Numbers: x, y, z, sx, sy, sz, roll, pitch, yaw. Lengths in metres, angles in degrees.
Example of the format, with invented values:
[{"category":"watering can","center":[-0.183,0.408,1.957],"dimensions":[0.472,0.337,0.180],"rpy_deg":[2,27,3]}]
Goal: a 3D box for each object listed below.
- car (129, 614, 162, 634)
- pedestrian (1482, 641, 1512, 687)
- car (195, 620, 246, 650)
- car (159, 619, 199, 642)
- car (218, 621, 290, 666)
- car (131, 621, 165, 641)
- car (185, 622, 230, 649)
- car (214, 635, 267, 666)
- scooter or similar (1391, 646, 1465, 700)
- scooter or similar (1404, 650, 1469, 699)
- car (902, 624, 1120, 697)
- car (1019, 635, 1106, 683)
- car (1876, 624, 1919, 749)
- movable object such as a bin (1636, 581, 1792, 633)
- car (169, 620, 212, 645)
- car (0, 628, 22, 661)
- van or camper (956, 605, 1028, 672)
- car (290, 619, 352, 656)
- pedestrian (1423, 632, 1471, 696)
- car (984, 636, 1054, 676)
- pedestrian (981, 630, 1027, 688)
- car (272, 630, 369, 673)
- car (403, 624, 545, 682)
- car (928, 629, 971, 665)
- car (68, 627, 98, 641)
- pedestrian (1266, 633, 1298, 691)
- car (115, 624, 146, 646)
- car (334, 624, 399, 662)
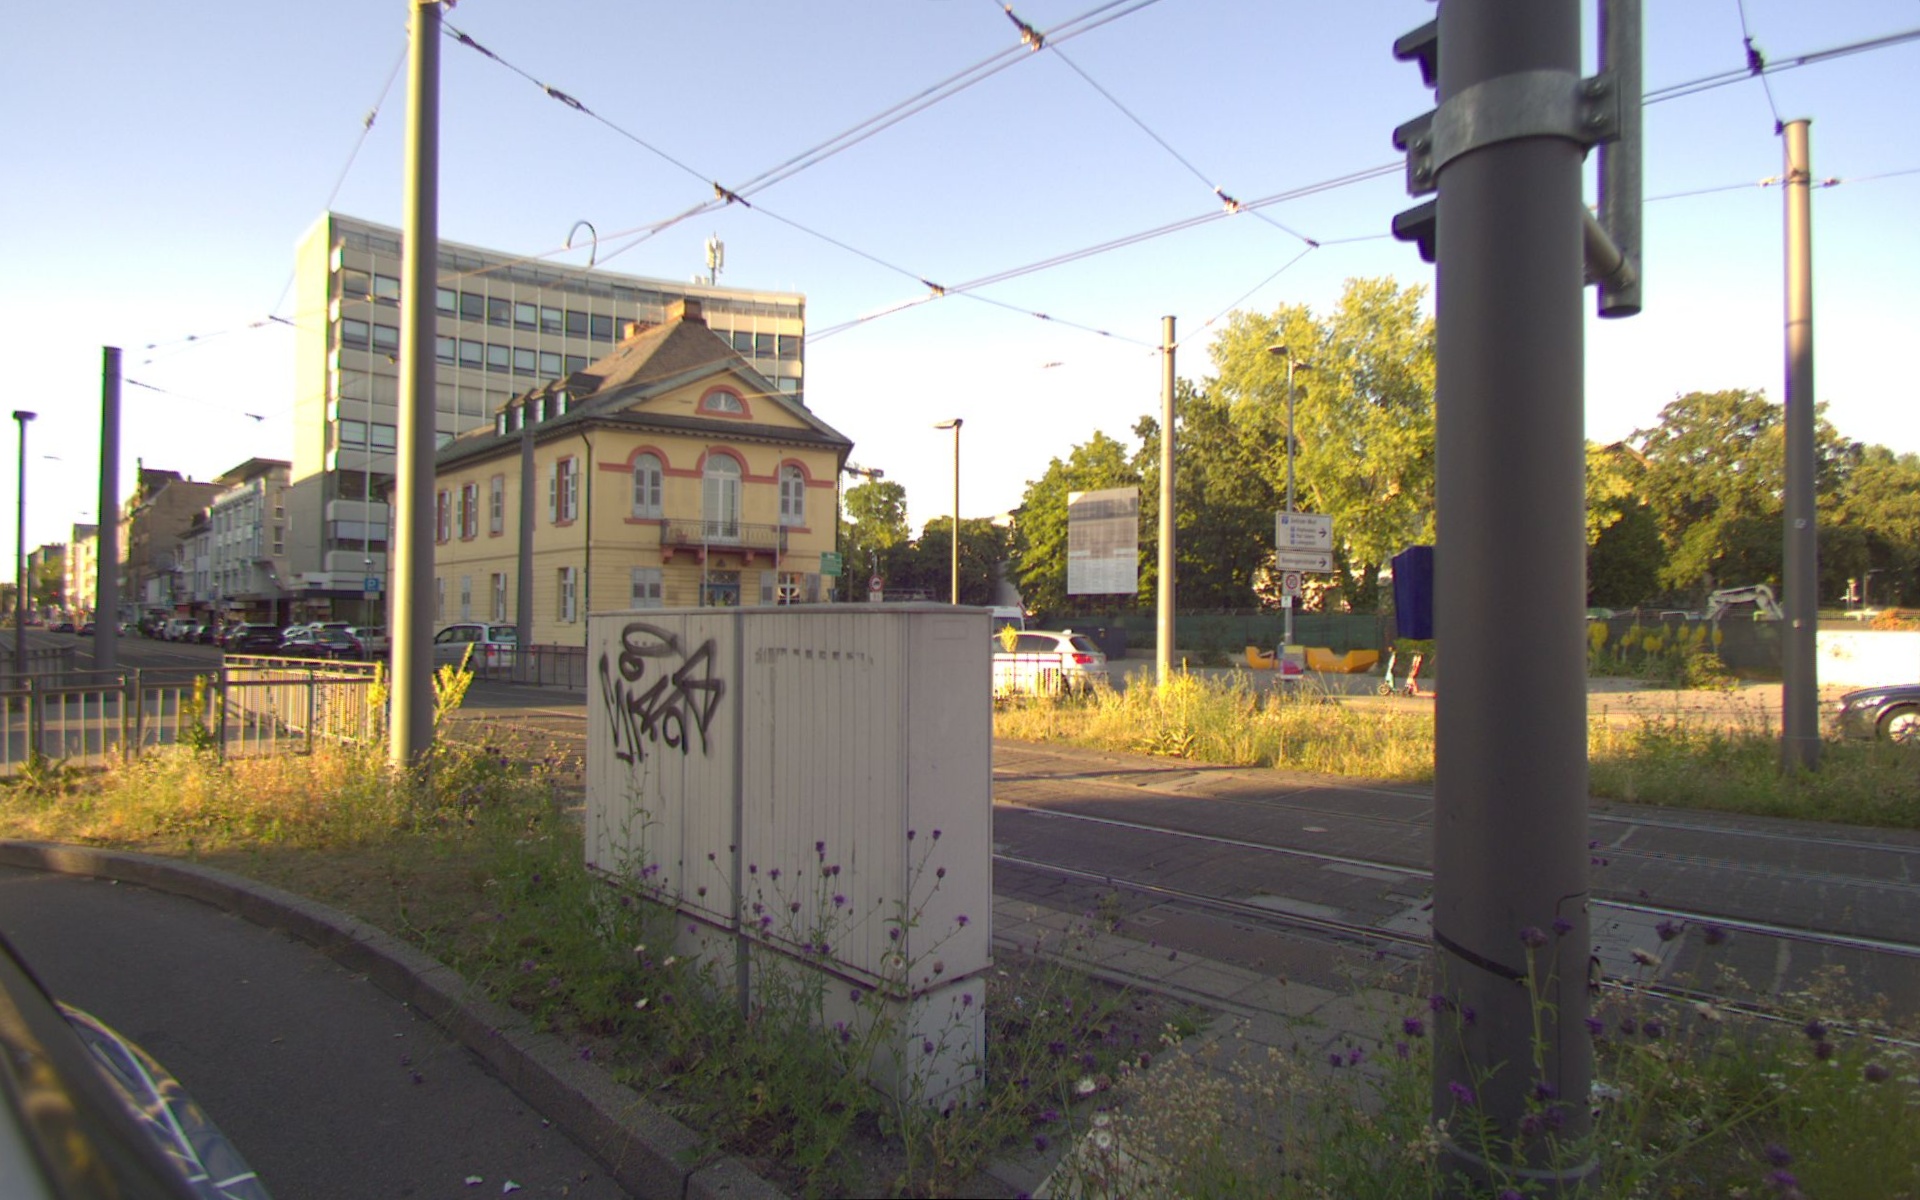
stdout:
[{"category":"car","center":[-83.480,2.439,103.669],"dimensions":[3.998,2.029,1.973],"rpy_deg":[-1,0,41]},{"category":"pedestrian","center":[19.806,2.339,37.325],"dimensions":[0.810,1.678,0.765],"rpy_deg":[2,-3,-42]},{"category":"car","center":[-49.940,2.343,68.331],"dimensions":[4.000,1.962,1.972],"rpy_deg":[-1,-3,43]},{"category":"car","center":[-65.991,2.578,85.514],"dimensions":[4.000,1.962,1.972],"rpy_deg":[-1,-3,43]},{"category":"car","center":[-33.132,1.996,47.433],"dimensions":[4.120,2.005,1.971],"rpy_deg":[-1,-3,44]},{"category":"car","center":[-79.857,3.019,99.555],"dimensions":[4.000,1.962,1.972],"rpy_deg":[-1,-3,43]},{"category":"car","center":[-56.274,2.611,75.683],"dimensions":[4.000,1.962,1.972],"rpy_deg":[-1,-3,43]},{"category":"car","center":[-46.023,3.199,64.713],"dimensions":[4.000,1.915,1.972],"rpy_deg":[-1,-3,43]},{"category":"scooter or similar","center":[11.736,1.823,25.386],"dimensions":[1.629,1.302,0.461],"rpy_deg":[1,-2,-3]},{"category":"scooter or similar","center":[11.724,1.830,24.897],"dimensions":[1.383,1.175,0.461],"rpy_deg":[1,-2,-3]},{"category":"car","center":[1.075,1.253,21.763],"dimensions":[4.316,1.421,1.898],"rpy_deg":[-1,-2,28]},{"category":"car","center":[3.515,2.023,35.479],"dimensions":[1.754,1.555,4.301],"rpy_deg":[1,-2,-12]},{"category":"car","center":[14.088,1.096,12.206],"dimensions":[1.971,1.528,4.417],"rpy_deg":[-1,0,-45]},{"category":"movable object such as a bin","center":[31.711,0.347,42.764],"dimensions":[1.966,2.029,5.039],"rpy_deg":[1,-2,-18]},{"category":"car","center":[-60.942,2.561,80.110],"dimensions":[4.000,1.962,1.972],"rpy_deg":[-1,-3,43]},{"category":"car","center":[-45.946,2.071,47.239],"dimensions":[1.965,1.586,4.316],"rpy_deg":[1,-2,-26]},{"category":"van or camper","center":[1.340,1.776,46.093],"dimensions":[2.050,2.796,6.462],"rpy_deg":[1,-2,-9]},{"category":"car","center":[-31.960,1.843,50.568],"dimensions":[3.807,1.721,1.712],"rpy_deg":[0,-2,44]},{"category":"pedestrian","center":[13.471,1.758,27.999],"dimensions":[0.865,1.737,0.830],"rpy_deg":[2,-2,-6]},{"category":"car","center":[2.268,2.186,40.060],"dimensions":[1.706,1.440,4.483],"rpy_deg":[2,-2,-11]},{"category":"pedestrian","center":[1.156,1.559,26.832],"dimensions":[1.028,1.514,1.006],"rpy_deg":[1,-2,-8]},{"category":"car","center":[-23.250,1.815,36.740],"dimensions":[1.989,1.439,4.658],"rpy_deg":[2,-3,-45]},{"category":"car","center":[-14.268,1.515,29.693],"dimensions":[4.057,1.610,1.821],"rpy_deg":[-1,-2,31]},{"category":"car","center":[-0.620,2.574,55.831],"dimensions":[1.690,1.863,4.030],"rpy_deg":[2,-2,-10]},{"category":"car","center":[-93.770,3.621,108.196],"dimensions":[3.998,1.519,1.824],"rpy_deg":[-1,-3,41]},{"category":"pedestrian","center":[9.148,1.744,28.736],"dimensions":[0.679,1.626,0.597],"rpy_deg":[2,-3,-40]},{"category":"car","center":[-89.301,3.759,108.952],"dimensions":[4.000,2.394,1.972],"rpy_deg":[-1,-3,43]},{"category":"car","center":[-27.591,1.970,47.024],"dimensions":[3.440,1.721,1.712],"rpy_deg":[-2,-3,44]}]
